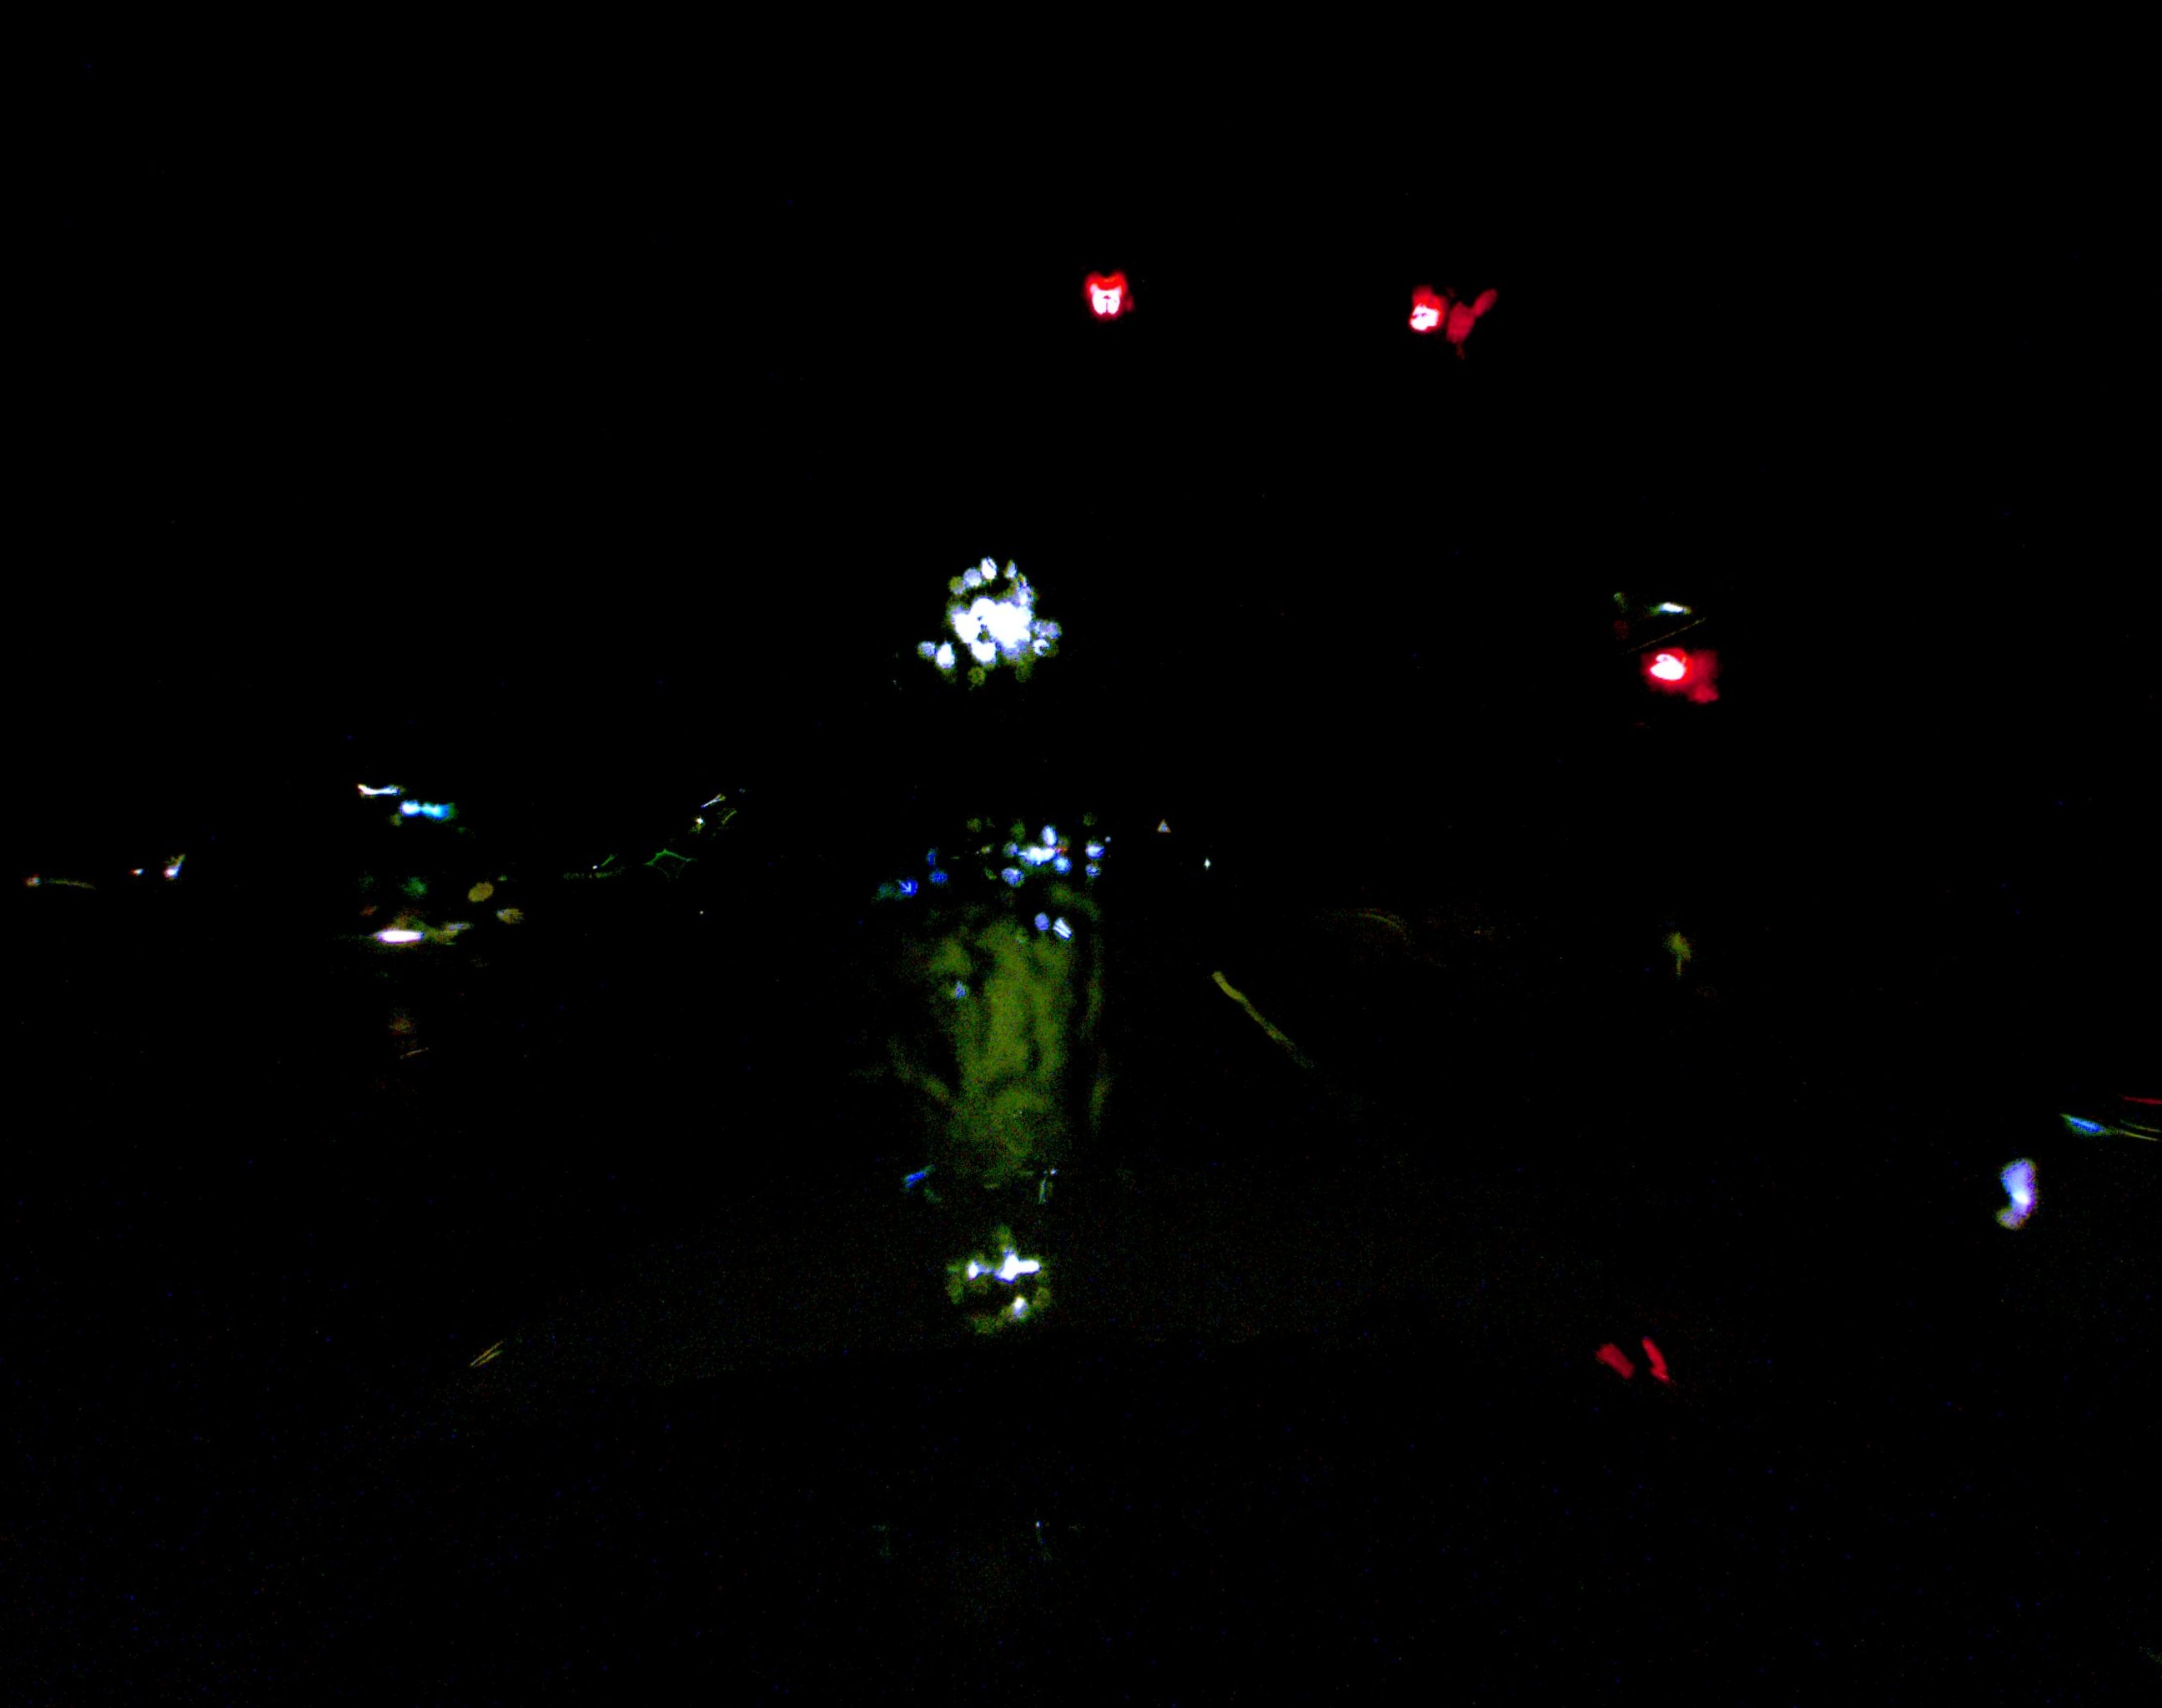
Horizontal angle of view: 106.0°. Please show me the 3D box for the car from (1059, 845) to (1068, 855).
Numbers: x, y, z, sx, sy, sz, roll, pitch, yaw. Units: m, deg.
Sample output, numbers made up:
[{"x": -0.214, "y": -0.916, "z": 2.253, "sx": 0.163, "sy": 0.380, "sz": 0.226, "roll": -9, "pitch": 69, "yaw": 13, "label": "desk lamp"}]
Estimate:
[{"x": -3.631, "y": -0.838, "z": 169.714, "sx": 1.786, "sy": 2.022, "sz": 4.579, "roll": -1, "pitch": 0, "yaw": 0, "label": "car"}]

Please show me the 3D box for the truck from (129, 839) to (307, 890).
[{"x": -41.675, "y": 0.492, "z": 39.631, "sx": 1.985, "sy": 2.271, "sz": 6.027, "roll": 0, "pitch": 0, "yaw": 4, "label": "truck"}]

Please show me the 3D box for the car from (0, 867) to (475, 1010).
[{"x": -10.331, "y": 0.952, "z": 10.036, "sx": 4.360, "sy": 1.518, "sz": 1.511, "roll": 0, "pitch": 0, "yaw": -10, "label": "car"}]

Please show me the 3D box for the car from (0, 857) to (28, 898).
[{"x": -41.413, "y": 0.885, "z": 29.481, "sx": 1.721, "sy": 1.519, "sz": 3.988, "roll": 0, "pitch": 0, "yaw": -9, "label": "car"}]
